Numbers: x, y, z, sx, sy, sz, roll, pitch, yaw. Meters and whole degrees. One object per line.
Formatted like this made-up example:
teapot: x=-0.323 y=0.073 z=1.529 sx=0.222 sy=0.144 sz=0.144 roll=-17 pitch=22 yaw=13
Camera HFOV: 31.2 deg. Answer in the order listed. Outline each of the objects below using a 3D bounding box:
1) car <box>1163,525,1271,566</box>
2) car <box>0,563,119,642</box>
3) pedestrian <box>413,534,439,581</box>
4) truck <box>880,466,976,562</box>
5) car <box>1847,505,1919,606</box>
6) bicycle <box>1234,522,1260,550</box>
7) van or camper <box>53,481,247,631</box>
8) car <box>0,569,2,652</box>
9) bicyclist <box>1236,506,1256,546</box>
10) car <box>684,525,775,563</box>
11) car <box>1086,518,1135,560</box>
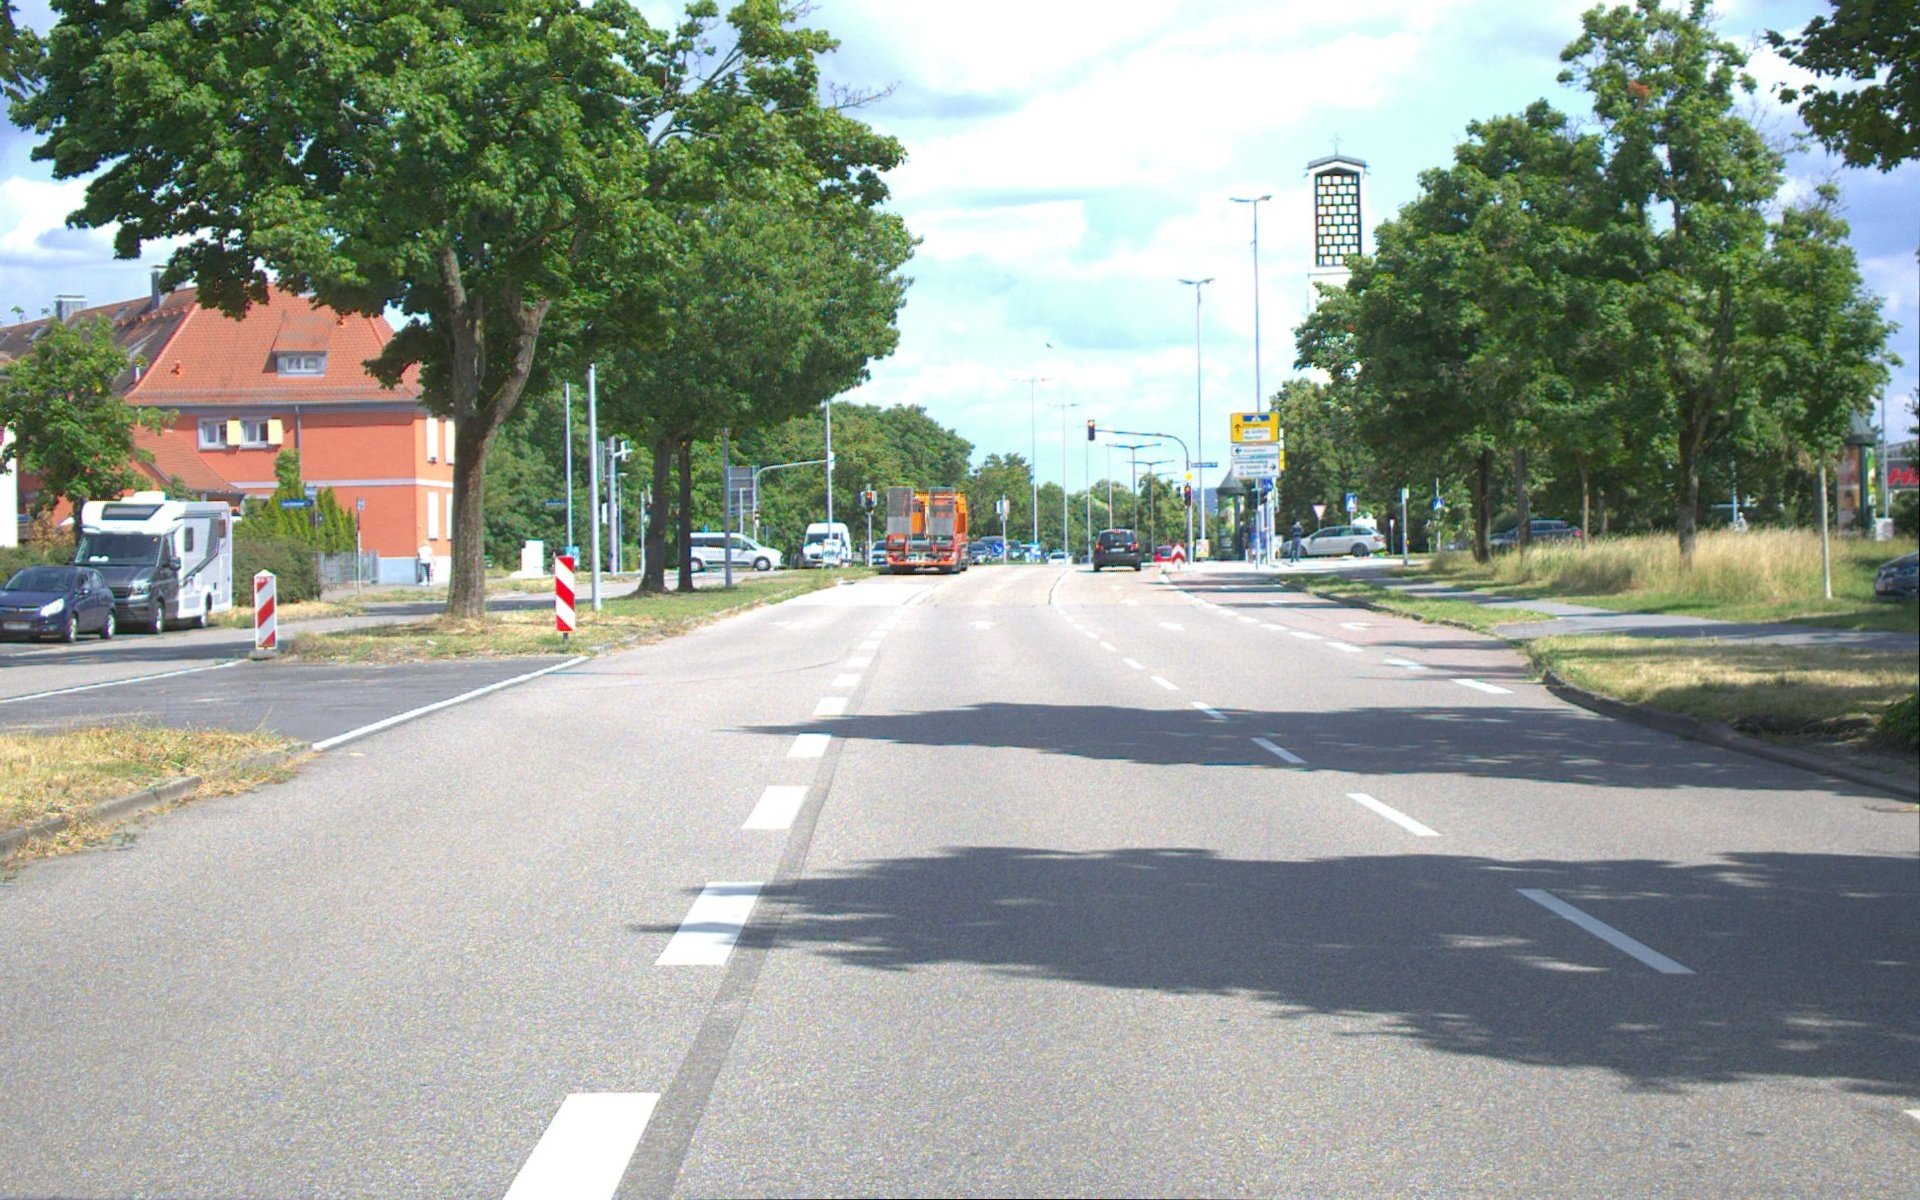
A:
car: x=9.325 y=-1.961 z=124.787 sx=3.571 sy=1.437 sz=1.476 roll=1 pitch=0 yaw=-15
car: x=-17.799 y=0.030 z=67.130 sx=1.636 sy=1.480 sz=3.992 roll=1 pitch=1 yaw=2
pedestrian: x=-18.262 y=-1.450 z=117.620 sx=0.696 sy=1.578 sz=0.851 roll=1 pitch=0 yaw=2
truck: x=-1.129 y=-3.167 z=129.278 sx=3.071 sy=3.402 sz=11.068 roll=1 pitch=1 yaw=2
car: x=16.770 y=-0.841 z=55.811 sx=4.162 sy=1.488 sz=1.785 roll=-4 pitch=3 yaw=-5
bicycle: x=11.826 y=-2.633 z=141.588 sx=0.648 sy=1.104 sz=1.926 roll=1 pitch=1 yaw=18
van or camper: x=-17.604 y=-1.030 z=75.163 sx=2.259 sy=3.101 sz=7.320 roll=1 pitch=2 yaw=2
car: x=-18.024 y=0.188 z=59.333 sx=1.689 sy=1.480 sz=4.124 roll=1 pitch=1 yaw=2
bicyclist: x=11.773 y=-3.041 z=141.399 sx=0.648 sy=1.655 sz=0.649 roll=1 pitch=0 yaw=18
car: x=-10.458 y=-2.542 z=156.006 sx=3.987 sy=1.646 sz=1.732 roll=1 pitch=0 yaw=0
car: x=5.663 y=-2.288 z=129.572 sx=1.799 sy=1.547 sz=4.000 roll=1 pitch=1 yaw=2
